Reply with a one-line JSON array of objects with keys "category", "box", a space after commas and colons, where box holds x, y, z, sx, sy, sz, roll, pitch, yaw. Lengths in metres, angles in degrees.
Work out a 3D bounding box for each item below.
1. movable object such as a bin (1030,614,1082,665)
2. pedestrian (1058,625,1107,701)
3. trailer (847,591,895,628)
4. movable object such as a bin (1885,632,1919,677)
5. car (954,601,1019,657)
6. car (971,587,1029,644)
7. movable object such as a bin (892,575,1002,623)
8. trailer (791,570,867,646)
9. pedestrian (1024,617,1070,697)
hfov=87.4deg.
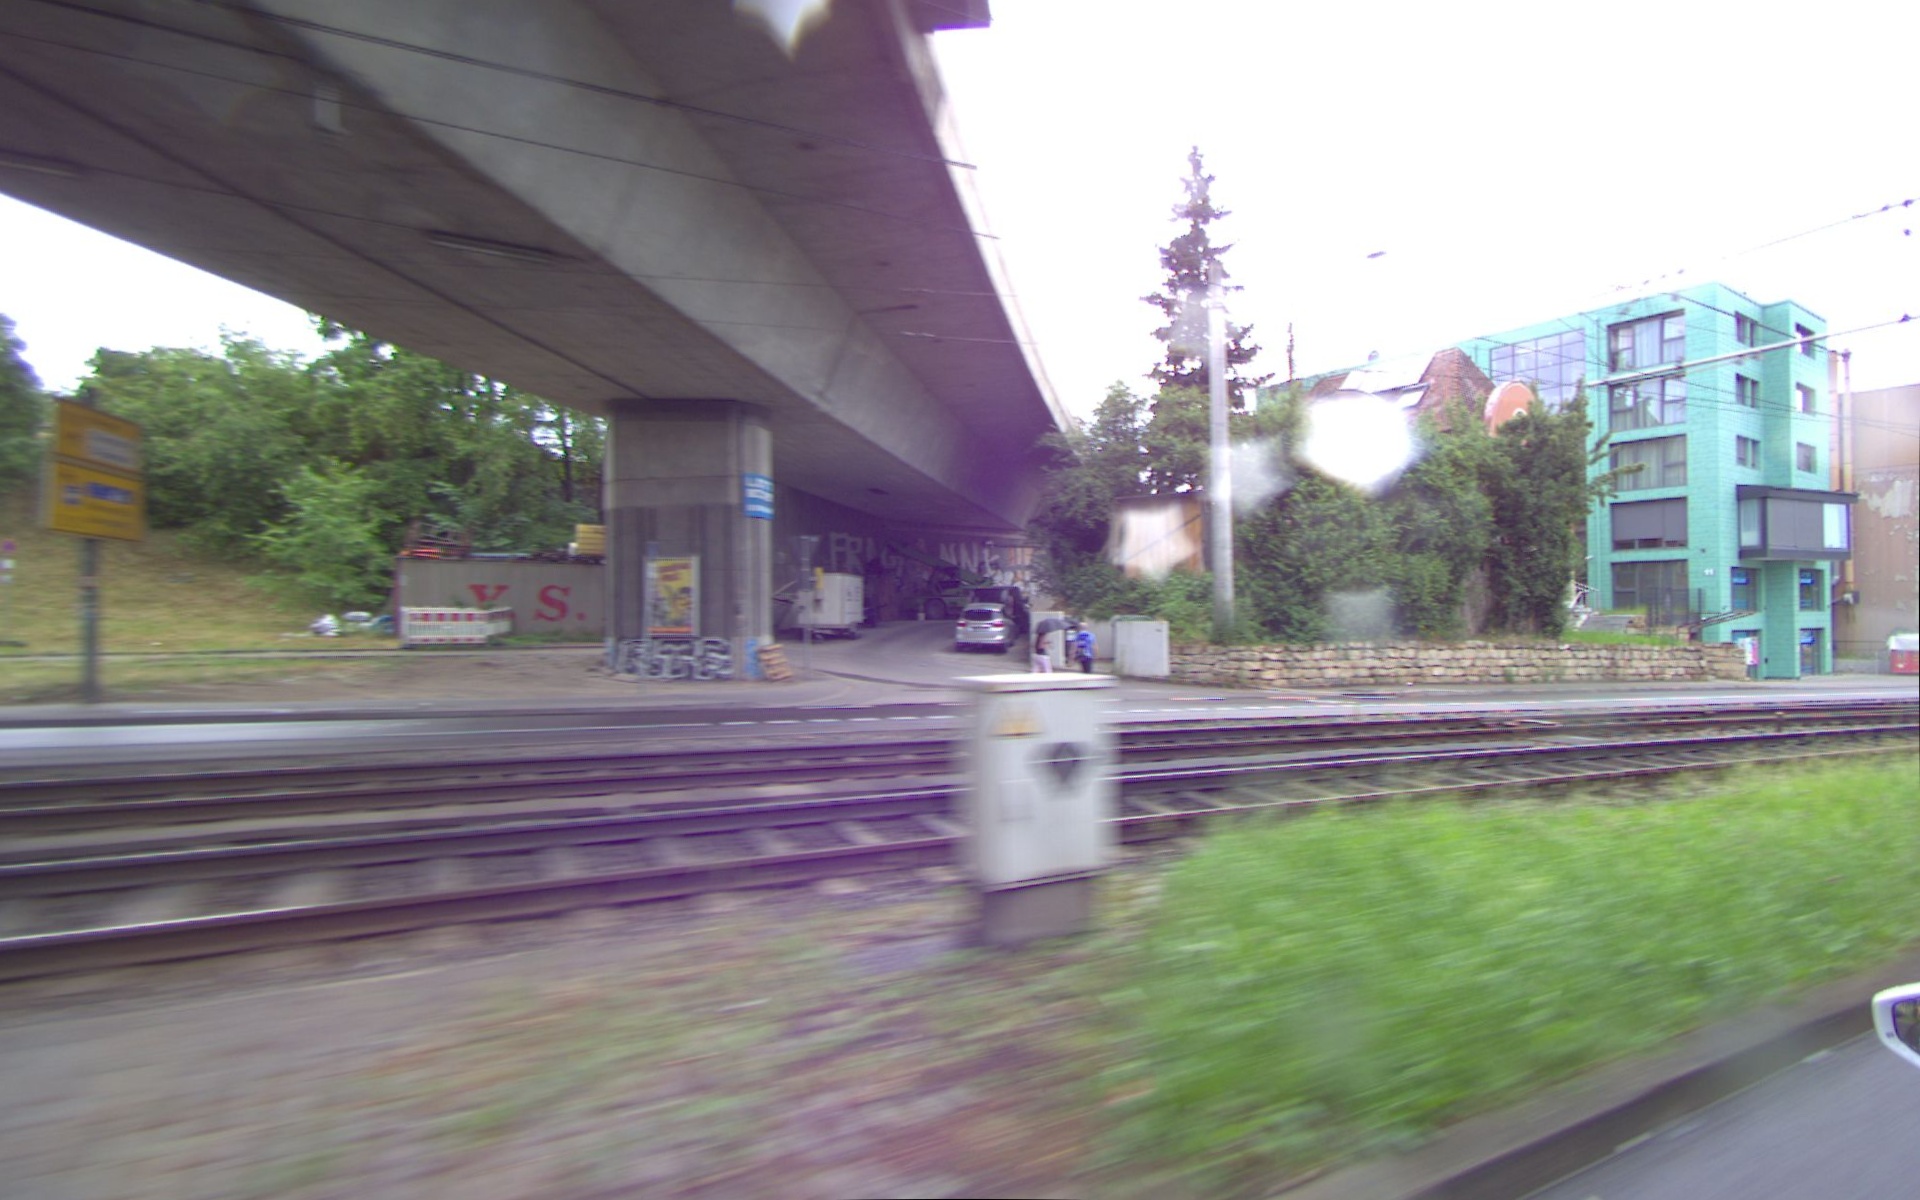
[{"category": "movable object such as a bin", "box": [3.090, 1.222, 31.959, 1.530, 1.499, 1.803, 1, 1, 8]}, {"category": "pedestrian", "box": [2.799, 1.417, 22.967, 0.875, 1.692, 0.691, 0, 0, -24]}, {"category": "trailer", "box": [-4.253, 0.453, 47.568, 1.964, 1.617, 3.993, 1, 0, -10]}, {"category": "movable object such as a bin", "box": [49.050, 2.814, 51.411, 1.784, 2.186, 2.119, 0, 2, -35]}, {"category": "car", "box": [0.956, 0.946, 34.650, 1.685, 1.690, 3.199, 2, 2, 12]}, {"category": "car", "box": [1.626, 0.554, 39.921, 1.761, 2.067, 3.199, 2, 2, 12]}, {"category": "movable object such as a bin", "box": [-0.709, -0.033, 54.976, 5.395, 2.486, 2.615, 1, 0, -29]}, {"category": "trailer", "box": [-5.037, 0.314, 39.195, 1.959, 2.761, 4.126, 1, 0, 6]}, {"category": "pedestrian", "box": [2.067, 1.329, 23.916, 0.855, 1.855, 0.691, 0, 0, -27]}]
